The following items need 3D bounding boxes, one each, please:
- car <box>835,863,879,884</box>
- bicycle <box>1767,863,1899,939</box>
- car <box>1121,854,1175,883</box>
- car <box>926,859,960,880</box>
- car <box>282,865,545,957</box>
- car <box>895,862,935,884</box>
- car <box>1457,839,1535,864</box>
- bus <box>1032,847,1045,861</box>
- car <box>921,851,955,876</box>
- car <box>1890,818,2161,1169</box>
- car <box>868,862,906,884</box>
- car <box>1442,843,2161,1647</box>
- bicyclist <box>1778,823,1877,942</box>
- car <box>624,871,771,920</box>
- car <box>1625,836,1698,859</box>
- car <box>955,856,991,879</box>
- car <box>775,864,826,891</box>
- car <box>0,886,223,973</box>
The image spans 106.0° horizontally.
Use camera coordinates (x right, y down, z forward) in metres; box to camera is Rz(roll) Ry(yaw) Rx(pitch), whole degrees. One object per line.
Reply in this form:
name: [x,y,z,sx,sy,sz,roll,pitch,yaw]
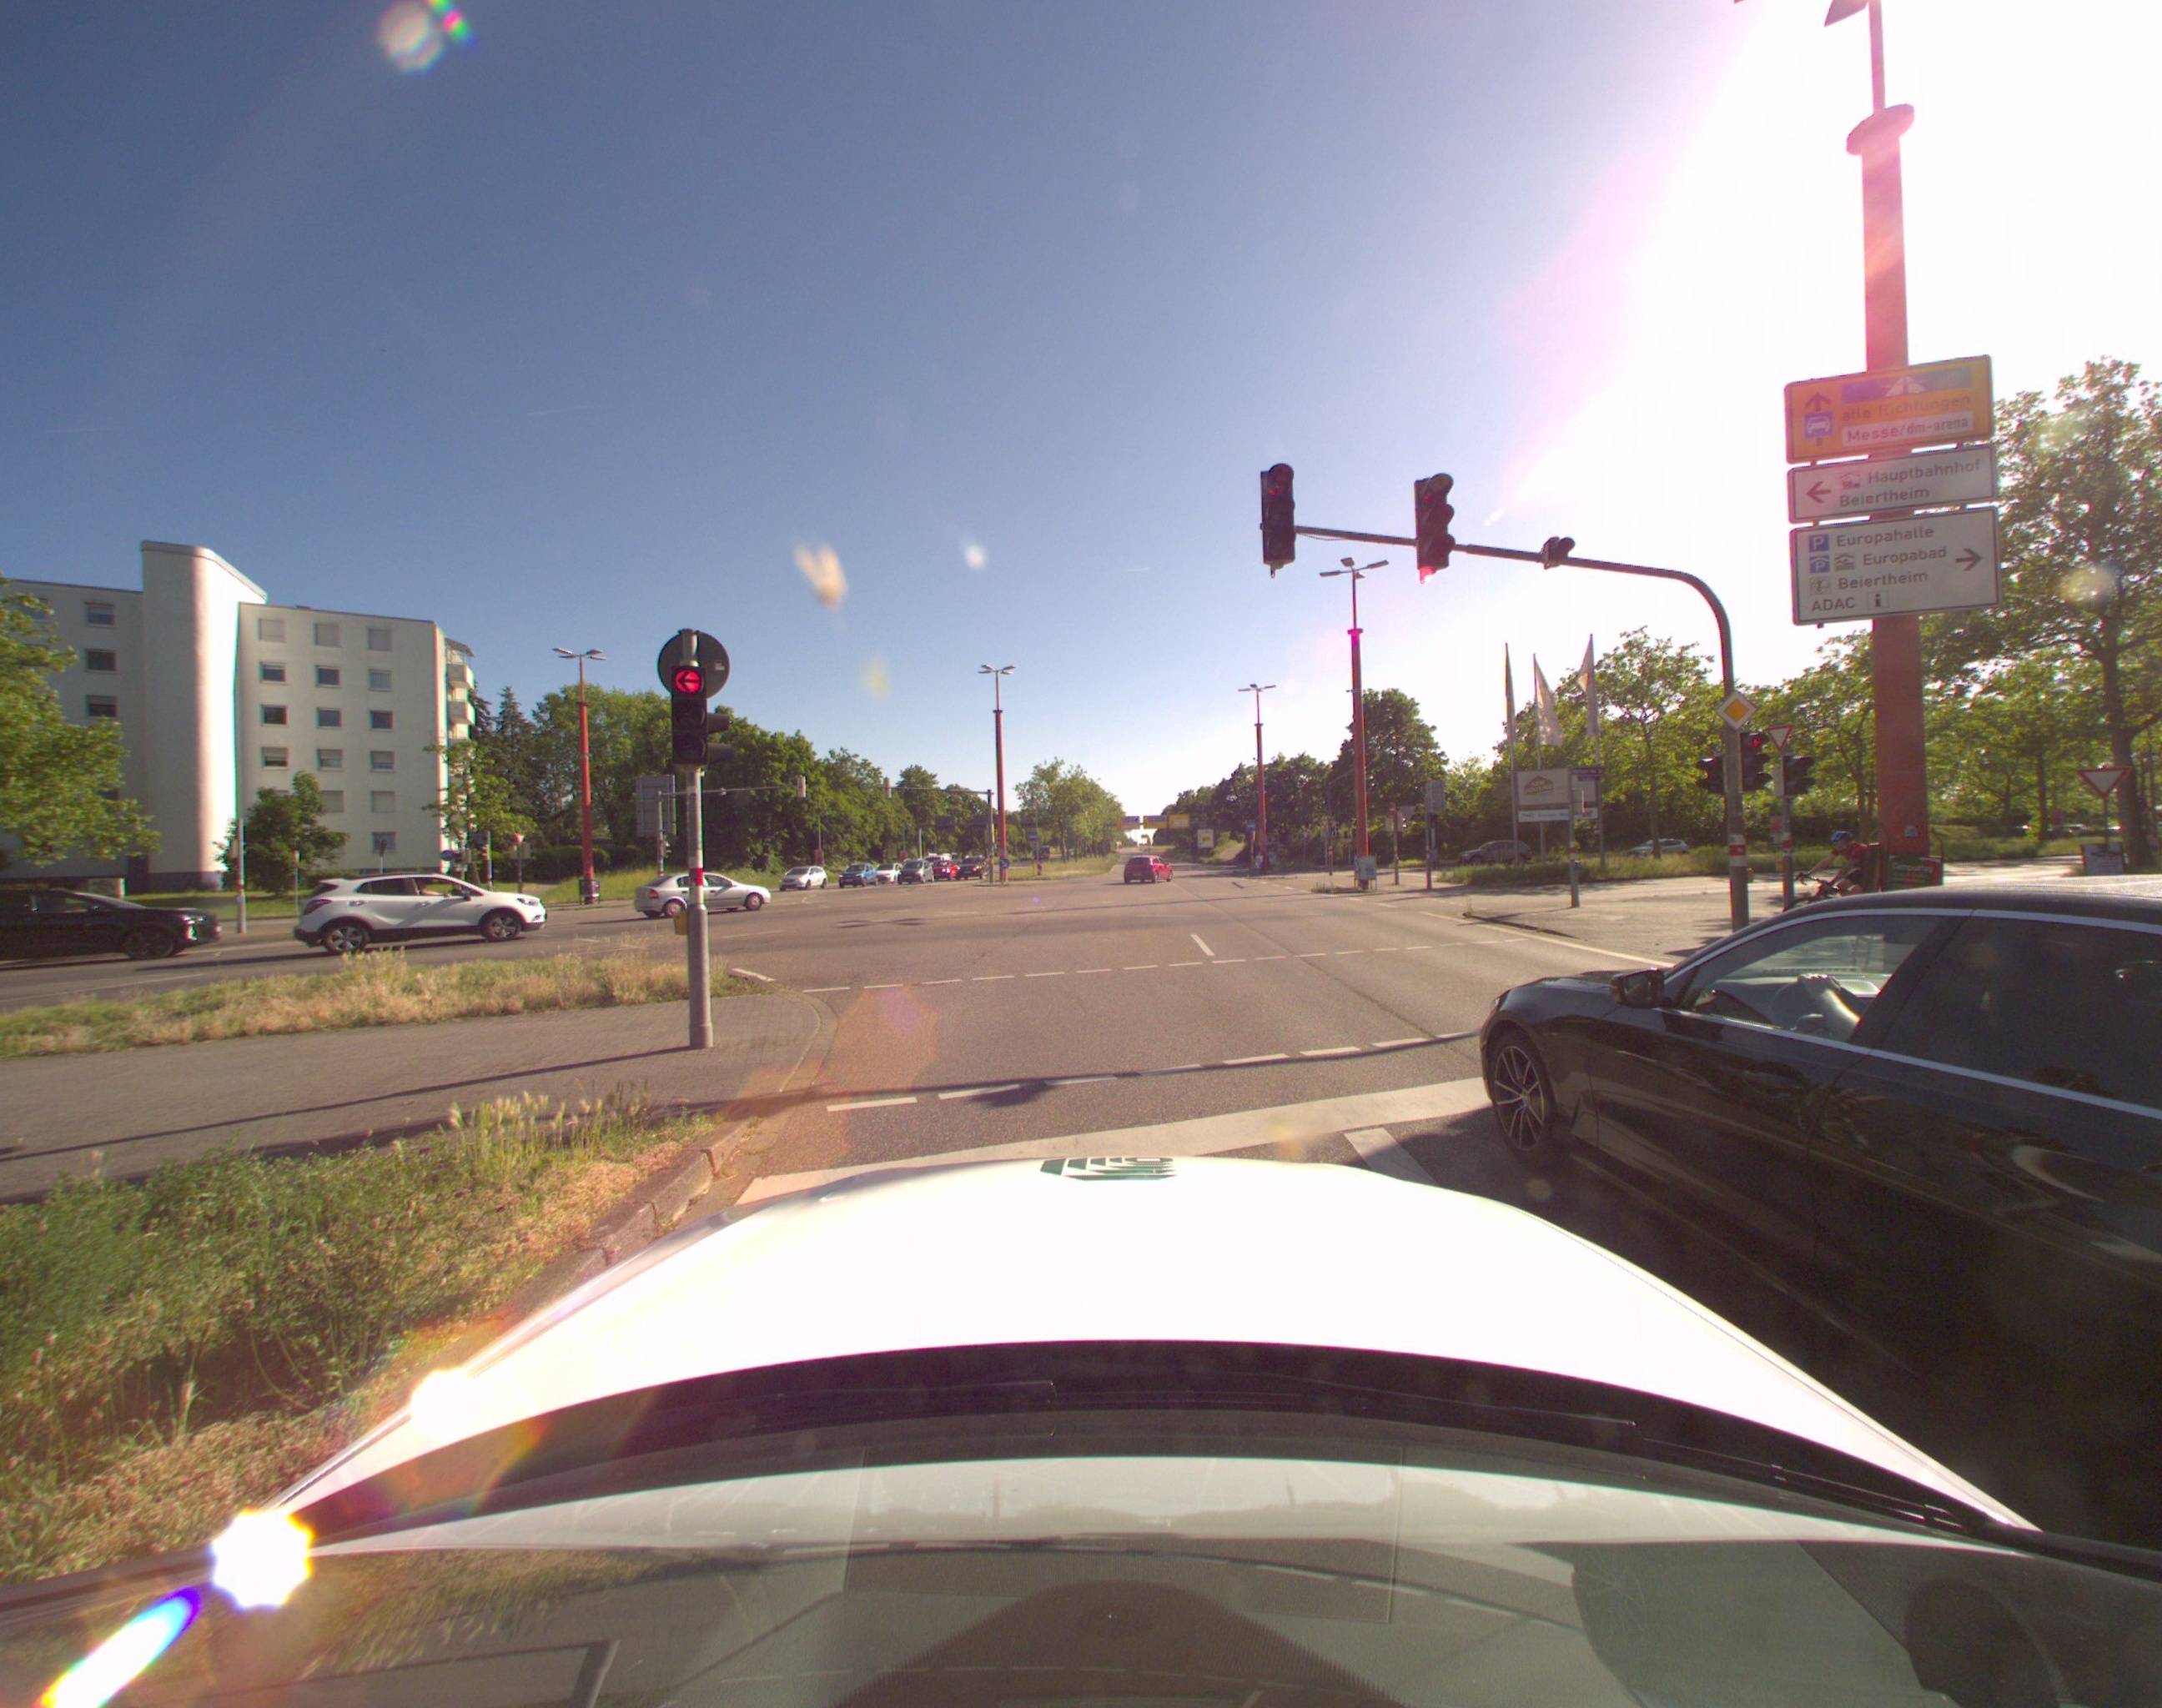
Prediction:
car: [-14.090,1.212,51.418,1.733,1.243,3.613,-2,0,1]
bicycle: [11.642,0.700,12.607,1.831,1.057,0.718,-2,0,-20]
car: [3.654,0.751,43.676,1.665,1.435,4.087,-2,0,23]
car: [-9.908,1.087,58.665,1.733,1.362,3.613,-2,0,1]
car: [-14.474,1.142,17.870,4.276,1.636,1.806,-2,0,-42]
car: [-10.606,1.188,52.305,1.733,1.243,3.613,-2,0,1]
car: [27.785,-0.171,54.667,4.288,1.485,1.790,-2,0,10]
bus: [-10.743,-0.007,205.758,2.482,3.238,10.004,-2,0,2]
car: [-12.572,0.823,71.897,1.886,2.026,5.224,-1,0,1]
car: [5.670,0.602,2.861,1.732,1.578,4.032,-2,0,3]
car: [-13.673,1.318,57.527,1.733,1.411,3.613,-2,0,1]
car: [2.889,0.690,2.374,1.862,1.398,4.446,-2,0,3]
bicyclist: [11.458,0.416,12.510,0.998,1.741,0.731,-2,0,-22]
car: [-12.349,1.284,26.408,1.469,1.346,4.025,-2,0,41]
car: [39.069,-0.436,54.859,3.983,1.467,1.678,-2,0,-11]
car: [-7.446,0.911,56.566,1.812,1.508,4.002,-2,0,2]
car: [-17.580,1.457,51.191,1.754,1.532,3.936,-2,0,1]
car: [-21.408,1.570,17.220,4.284,1.545,1.836,-2,0,-40]
